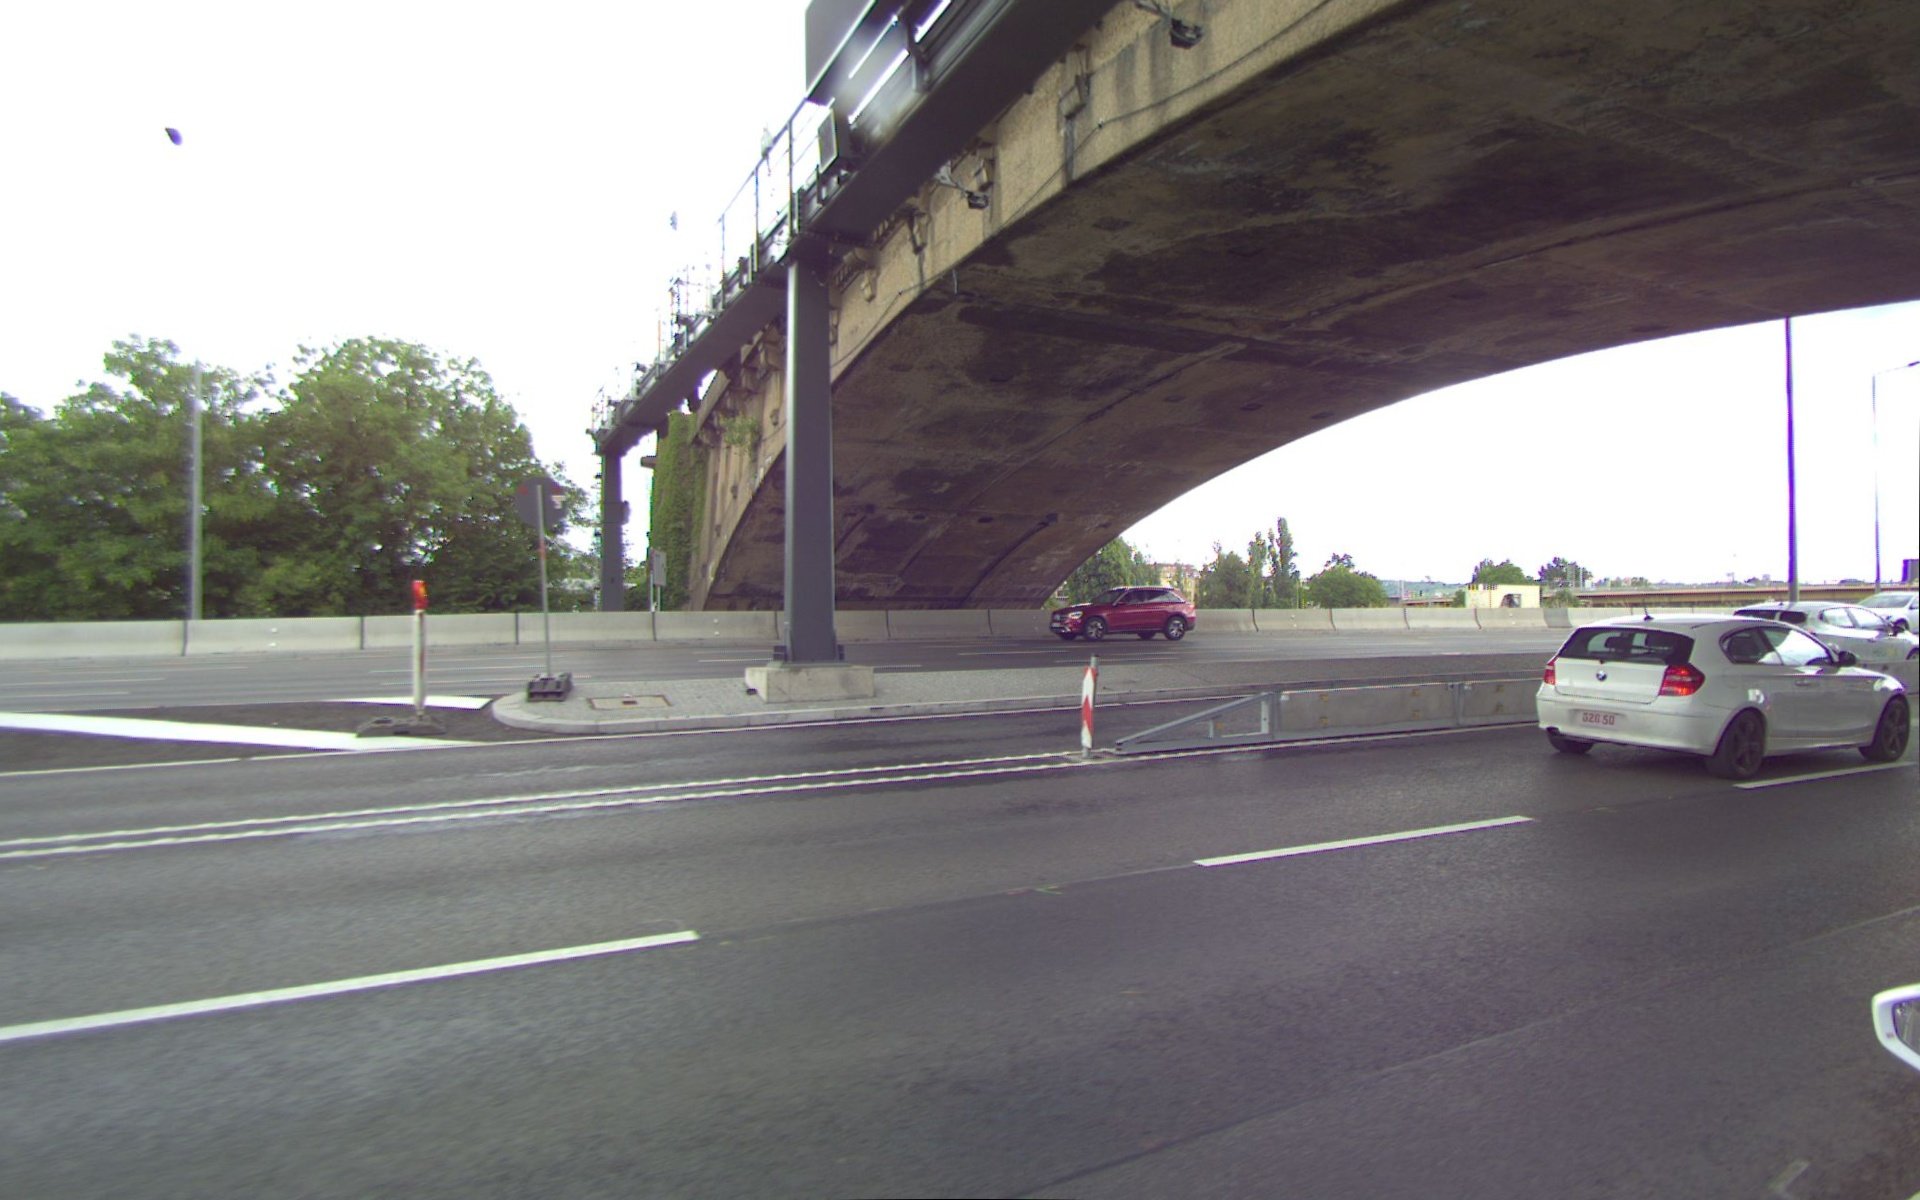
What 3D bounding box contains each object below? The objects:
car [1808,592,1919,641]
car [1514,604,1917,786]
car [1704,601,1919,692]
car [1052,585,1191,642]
[{"bbox_3d":[29.858,0.519,32.314,4.469,1.506,1.855,0,0,-17],"label":"car"},{"bbox_3d":[7.565,0.801,10.019,3.930,1.452,1.632,-1,2,-27],"label":"car"},{"bbox_3d":[15.500,0.800,18.105,3.940,1.504,1.572,1,0,-23],"label":"car"},{"bbox_3d":[4.944,0.388,30.767,3.938,1.638,1.695,-1,0,-22],"label":"car"}]
